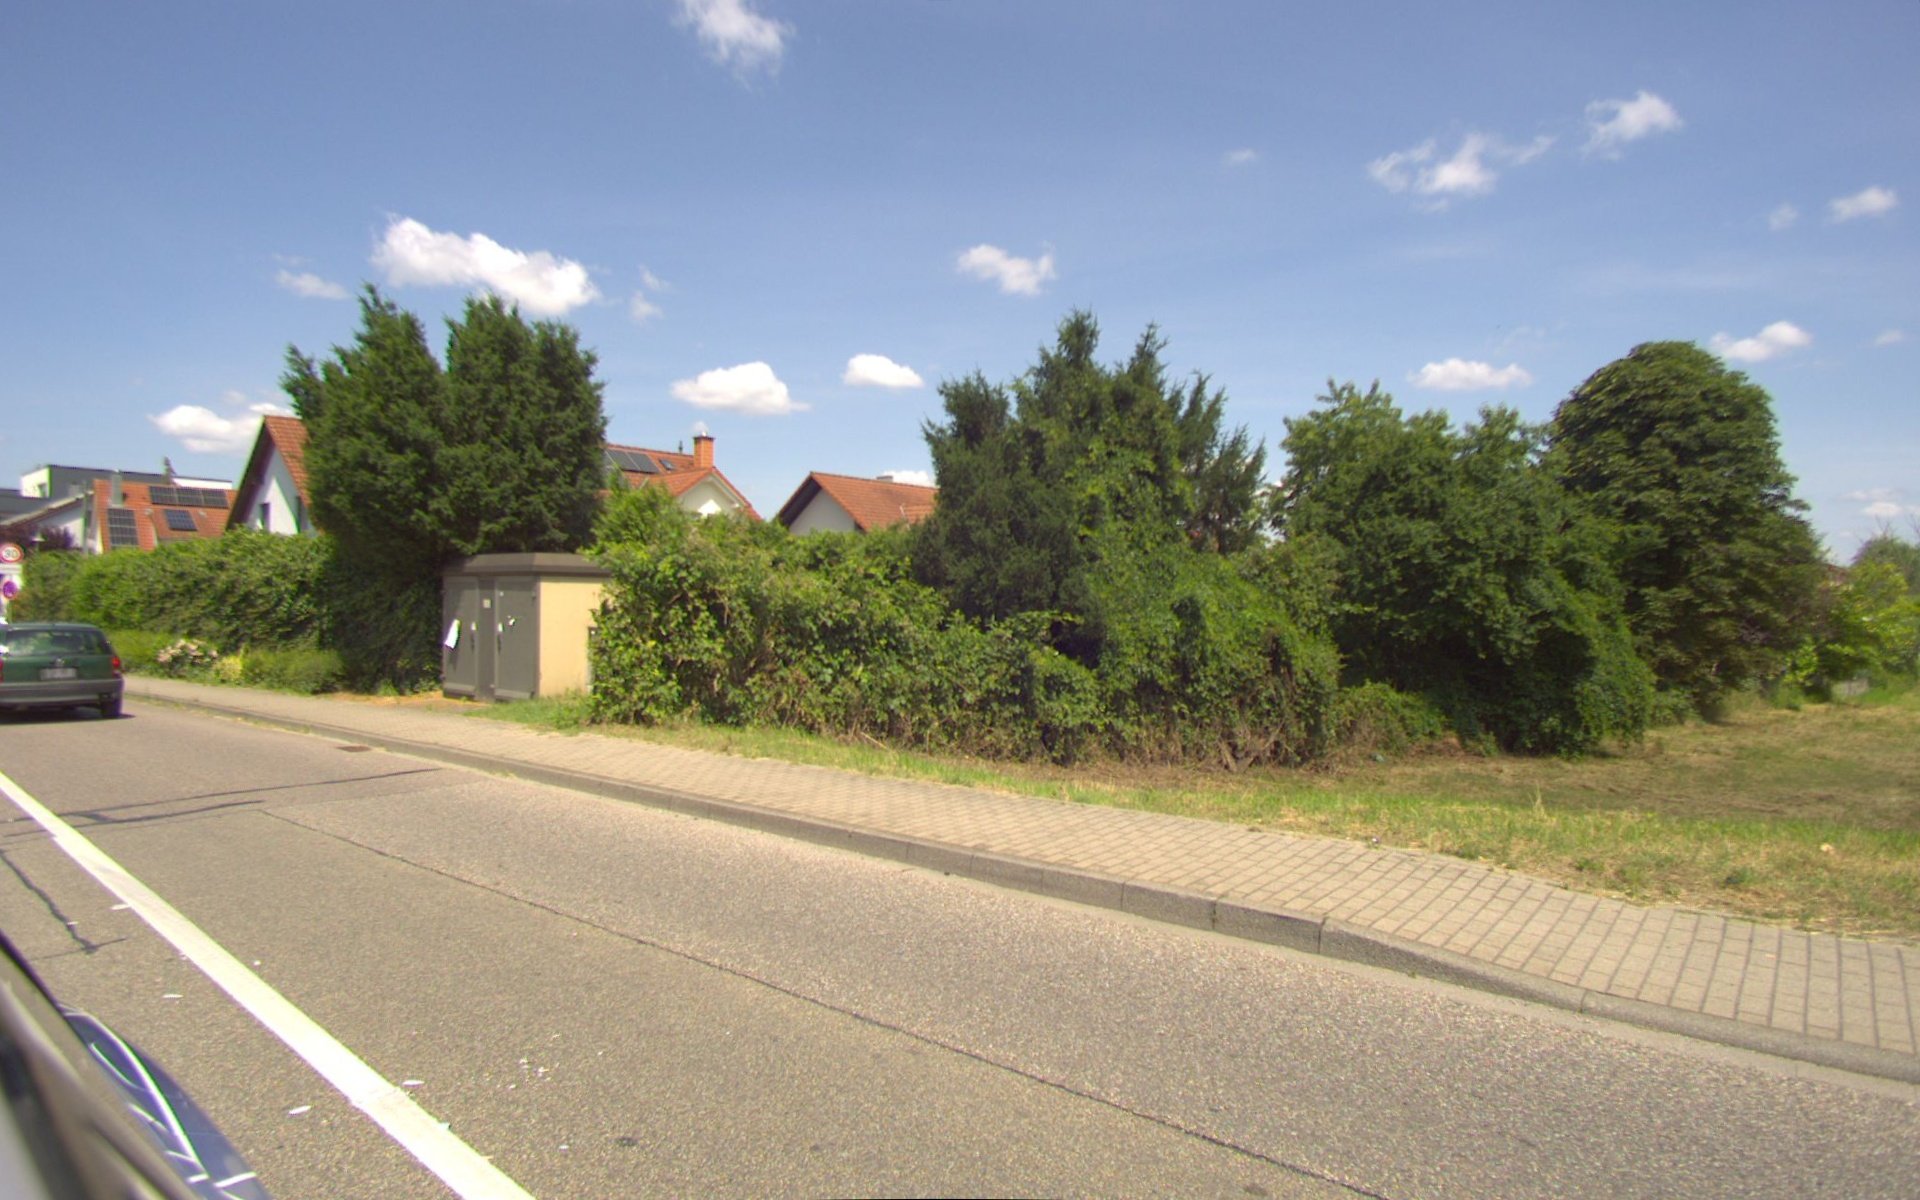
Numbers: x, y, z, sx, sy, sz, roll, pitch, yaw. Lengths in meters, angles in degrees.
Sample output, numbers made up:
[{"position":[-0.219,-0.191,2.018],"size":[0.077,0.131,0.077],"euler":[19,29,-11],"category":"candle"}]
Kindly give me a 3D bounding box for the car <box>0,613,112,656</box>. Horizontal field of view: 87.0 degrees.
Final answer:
[{"position":[-36.518,1.373,40.563],"size":[3.696,1.611,1.729],"euler":[0,-3,-33],"category":"car"}]

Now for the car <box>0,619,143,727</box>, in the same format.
[{"position":[-13.968,1.022,15.244],"size":[3.867,1.444,1.763],"euler":[-1,-2,39],"category":"car"}]
